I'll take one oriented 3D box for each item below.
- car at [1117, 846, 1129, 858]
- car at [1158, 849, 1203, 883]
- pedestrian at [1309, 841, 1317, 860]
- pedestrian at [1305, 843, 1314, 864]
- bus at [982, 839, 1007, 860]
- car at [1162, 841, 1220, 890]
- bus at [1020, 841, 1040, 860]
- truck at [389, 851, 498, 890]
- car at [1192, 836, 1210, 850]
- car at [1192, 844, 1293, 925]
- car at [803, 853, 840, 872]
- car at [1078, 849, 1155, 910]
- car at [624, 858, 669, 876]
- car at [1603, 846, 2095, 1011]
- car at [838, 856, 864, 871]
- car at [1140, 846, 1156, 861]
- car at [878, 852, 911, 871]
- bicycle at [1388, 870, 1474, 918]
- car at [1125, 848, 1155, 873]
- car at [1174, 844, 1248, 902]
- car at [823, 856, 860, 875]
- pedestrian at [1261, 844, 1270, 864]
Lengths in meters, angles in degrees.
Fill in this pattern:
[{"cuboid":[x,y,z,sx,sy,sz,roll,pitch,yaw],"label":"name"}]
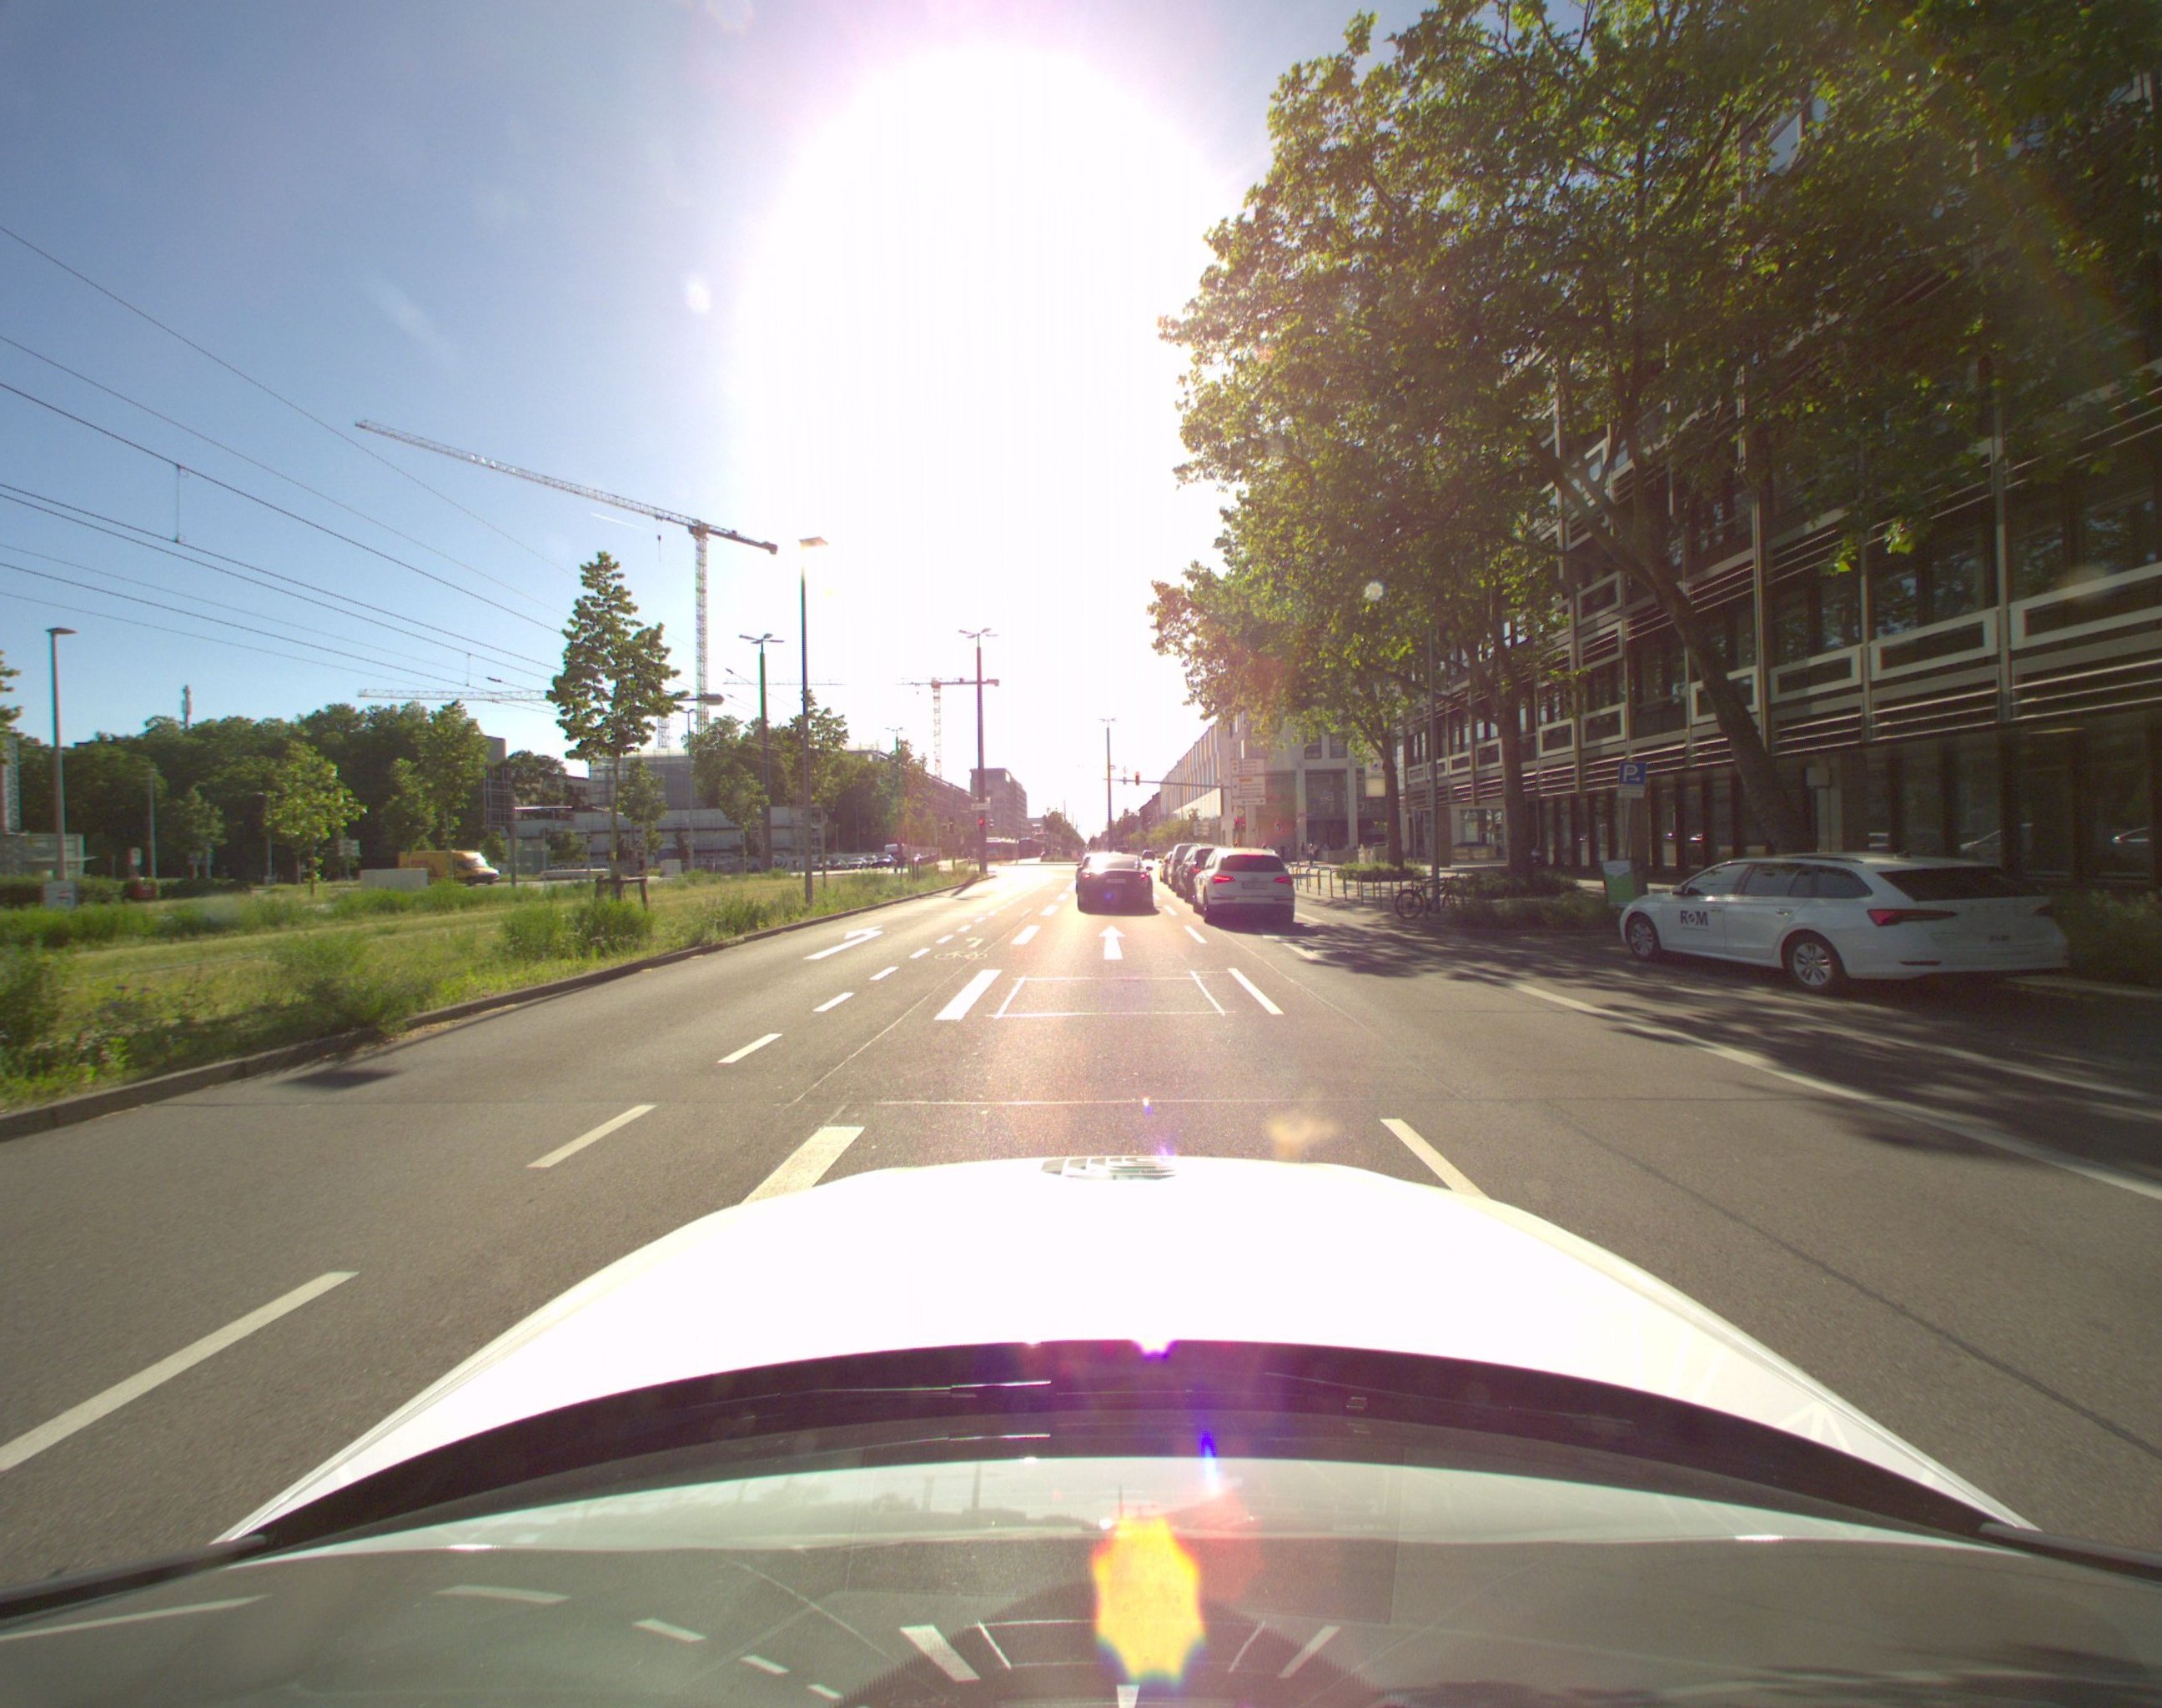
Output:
[{"cuboid":[7.220,-0.364,141.070,1.986,2.014,4.002,1,-1,2],"label":"car"},{"cuboid":[4.603,0.520,38.083,1.715,1.431,4.189,-1,0,2],"label":"car"},{"cuboid":[18.228,-0.280,64.044,0.559,1.440,0.633,1,-1,8],"label":"pedestrian"},{"cuboid":[16.226,-0.039,57.805,0.559,1.440,0.633,1,-1,8],"label":"pedestrian"},{"cuboid":[-11.964,-0.622,113.626,2.620,2.783,8.840,1,-1,-1],"label":"bus"},{"cuboid":[4.242,0.399,32.070,1.716,1.782,4.186,-1,0,0],"label":"car"},{"cuboid":[-8.082,-0.488,130.517,2.620,2.959,9.894,1,-1,-1],"label":"bus"},{"cuboid":[-49.984,1.296,63.948,6.940,2.963,2.000,1,-1,0],"label":"truck"},{"cuboid":[14.869,-1.316,100.903,1.657,1.649,3.700,1,-1,0],"label":"car"},{"cuboid":[3.569,0.605,18.660,1.714,1.618,4.190,-1,0,3],"label":"car"},{"cuboid":[-17.151,0.571,53.943,1.371,1.178,3.221,1,-1,1],"label":"car"},{"cuboid":[0.937,0.637,22.475,1.905,1.486,4.010,-1,0,1],"label":"car"},{"cuboid":[-39.076,1.154,73.333,1.704,1.556,4.002,1,-1,2],"label":"car"},{"cuboid":[8.538,0.669,9.800,1.697,1.492,4.603,-1,0,2],"label":"car"},{"cuboid":[-26.545,1.074,94.171,1.830,1.612,3.896,1,-1,1],"label":"car"},{"cuboid":[9.335,-0.070,113.834,1.986,2.014,4.002,1,-1,2],"label":"car"},{"cuboid":[-12.203,0.470,53.434,1.371,1.178,3.221,1,-1,1],"label":"car"},{"cuboid":[7.786,0.891,18.120,1.689,0.957,0.478,-3,0,-3],"label":"bicycle"},{"cuboid":[3.693,0.378,51.309,1.715,1.431,4.189,-1,0,2],"label":"car"},{"cuboid":[3.971,0.524,25.463,1.715,1.653,4.188,-1,0,1],"label":"car"},{"cuboid":[-15.366,0.727,52.348,1.371,1.178,3.221,1,-1,1],"label":"car"},{"cuboid":[13.364,0.016,59.025,0.559,1.440,0.633,1,-1,8],"label":"pedestrian"}]
